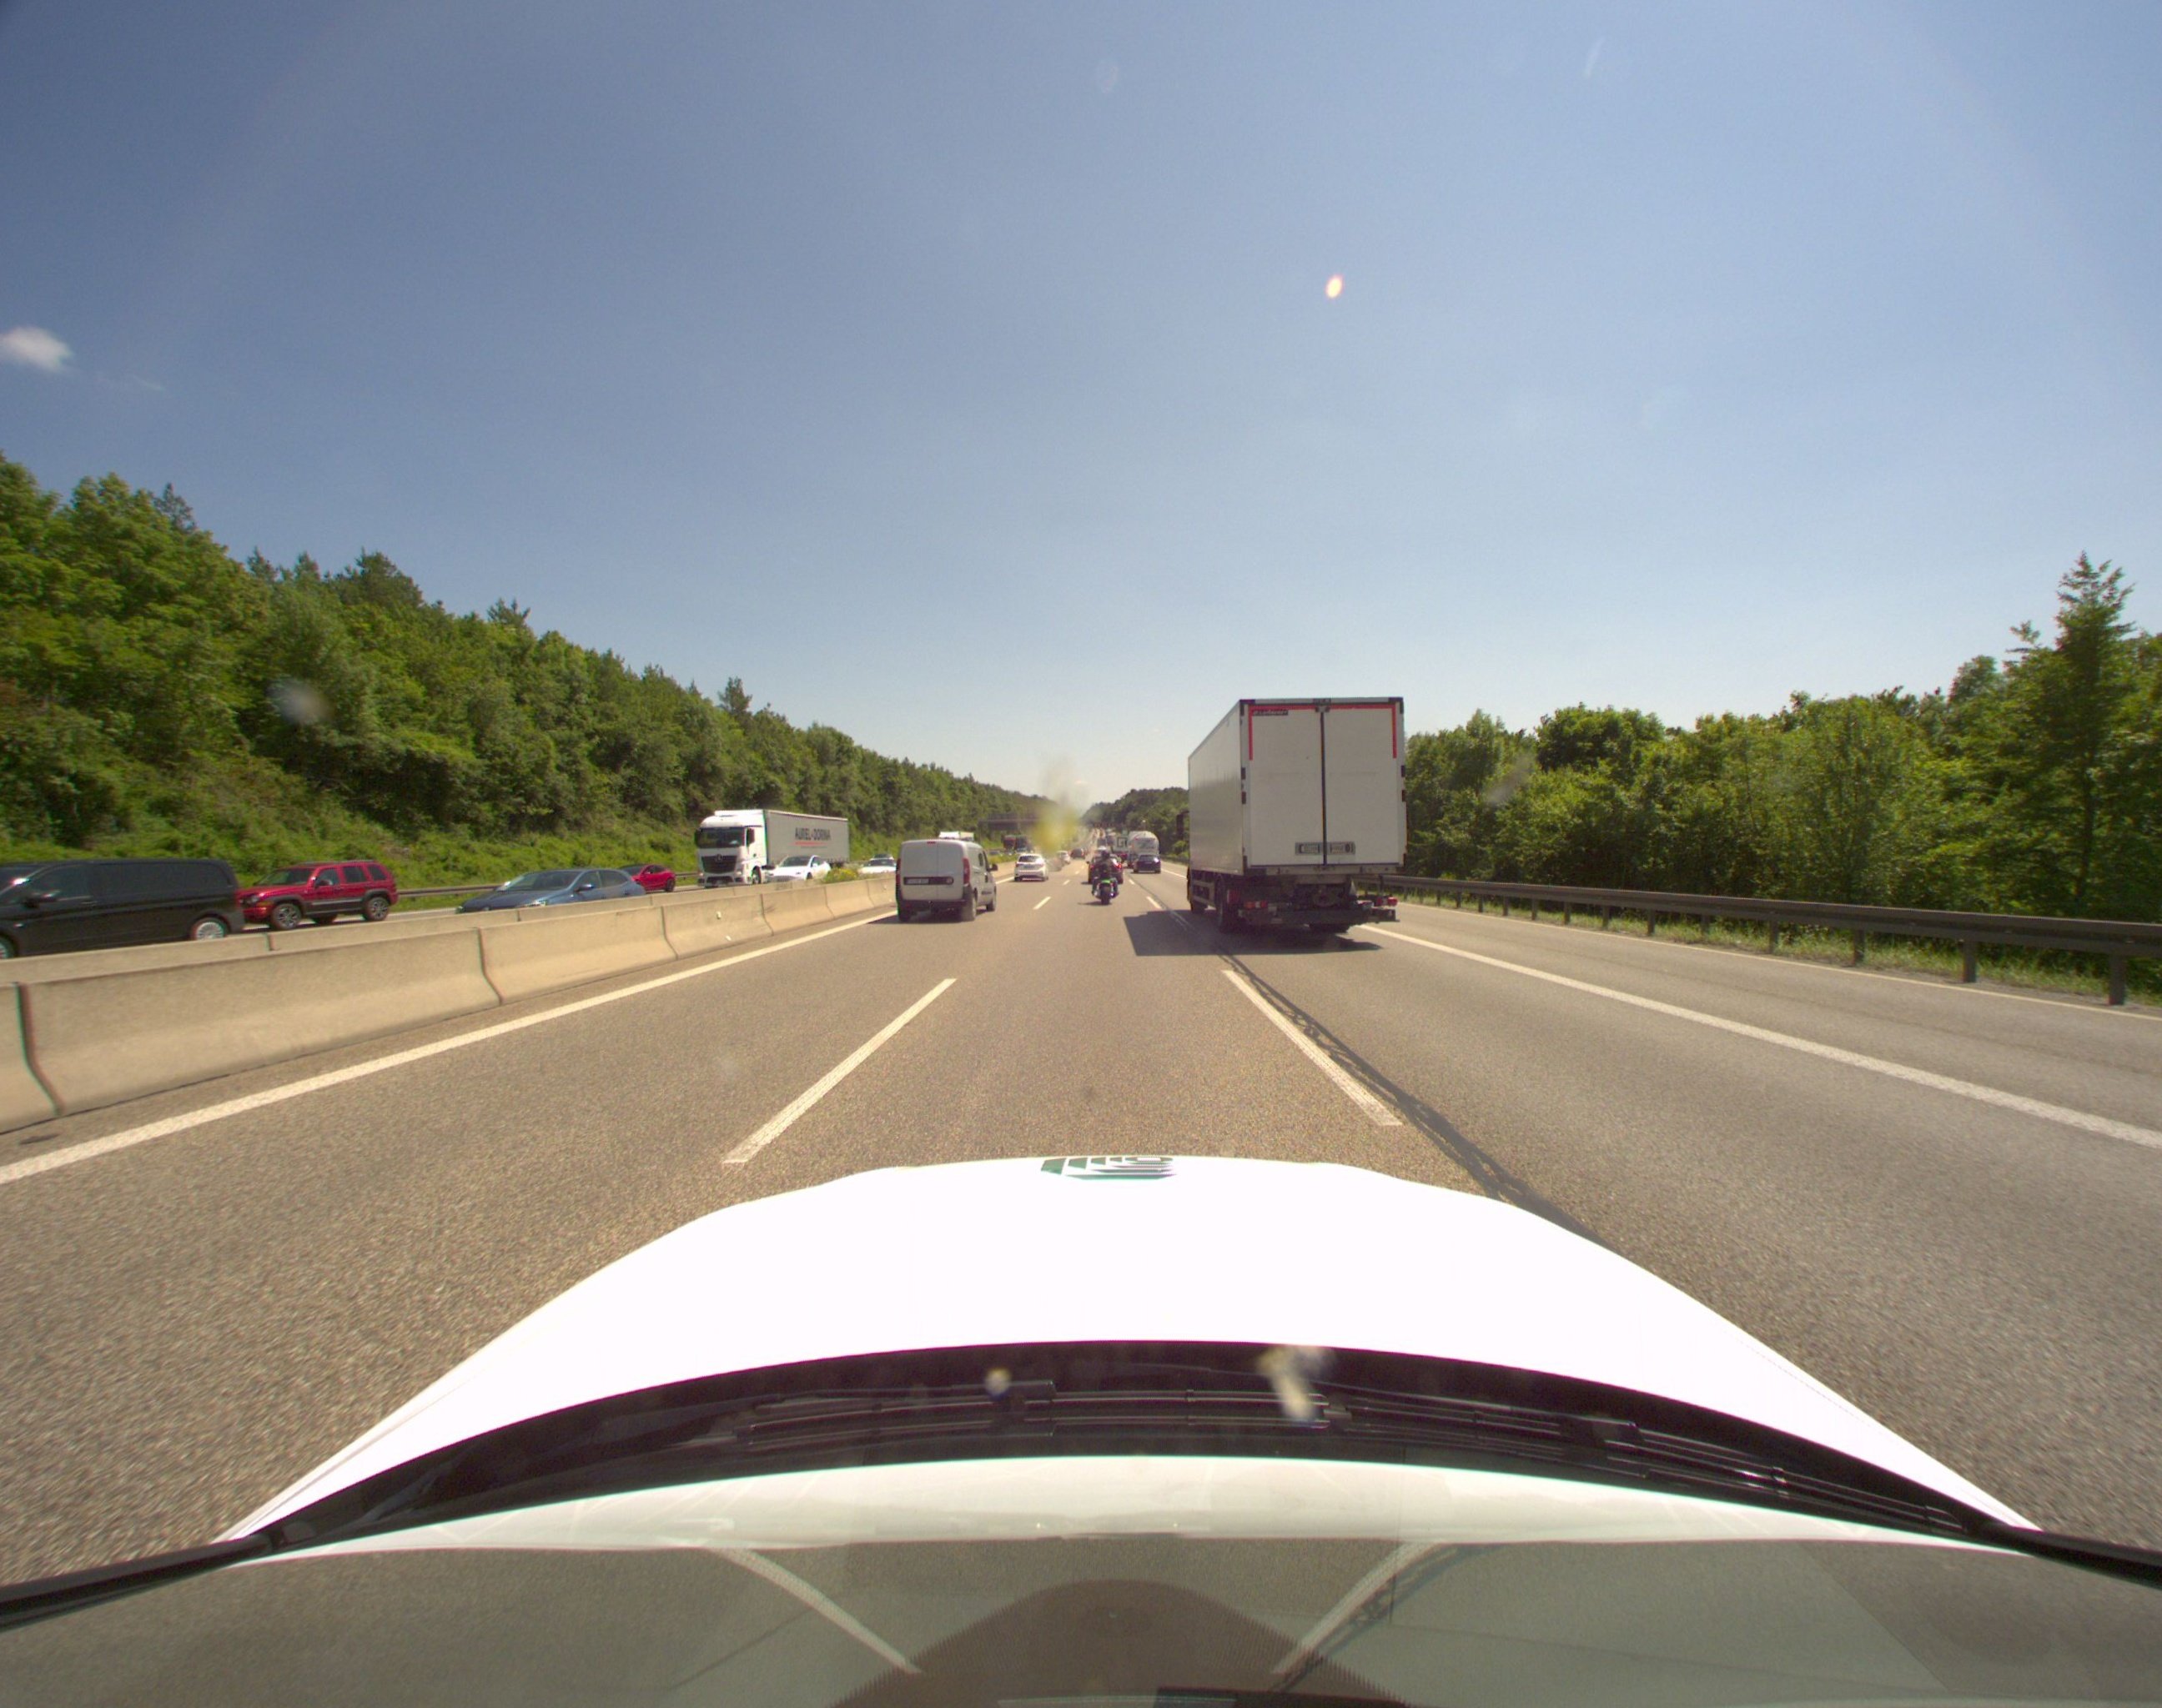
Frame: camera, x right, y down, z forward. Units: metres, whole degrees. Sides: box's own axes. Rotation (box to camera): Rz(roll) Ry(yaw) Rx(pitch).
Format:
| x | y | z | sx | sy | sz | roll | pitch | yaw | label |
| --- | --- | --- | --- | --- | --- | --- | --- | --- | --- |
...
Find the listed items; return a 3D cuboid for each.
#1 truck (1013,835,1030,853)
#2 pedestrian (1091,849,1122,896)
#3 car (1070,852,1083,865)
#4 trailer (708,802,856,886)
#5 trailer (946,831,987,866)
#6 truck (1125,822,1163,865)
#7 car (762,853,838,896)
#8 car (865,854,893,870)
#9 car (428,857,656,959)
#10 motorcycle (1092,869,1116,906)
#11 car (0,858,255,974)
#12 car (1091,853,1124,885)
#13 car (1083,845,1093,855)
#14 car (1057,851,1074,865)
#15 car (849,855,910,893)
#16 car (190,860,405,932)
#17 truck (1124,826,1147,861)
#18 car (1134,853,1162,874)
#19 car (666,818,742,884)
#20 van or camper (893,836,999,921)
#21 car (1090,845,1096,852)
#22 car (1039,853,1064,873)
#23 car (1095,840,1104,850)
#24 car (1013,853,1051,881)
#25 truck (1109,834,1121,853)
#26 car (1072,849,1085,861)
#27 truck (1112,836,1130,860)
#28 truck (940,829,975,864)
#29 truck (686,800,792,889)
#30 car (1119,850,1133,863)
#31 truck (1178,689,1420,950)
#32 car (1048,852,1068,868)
| x | y | z | sx | sy | sz | roll | pitch | yaw | label |
| --- | --- | --- | --- | --- | --- | --- | --- | --- | --- |
| -13.789 | -2.310 | 189.118 | 2.895 | 3.974 | 7.771 | -2 | -1 | 1 | truck |
| 0.782 | 0.539 | 24.712 | 0.846 | 1.362 | 0.962 | -2 | 0 | 2 | pedestrian |
| -0.712 | 0.800 | 138.541 | 1.986 | 2.014 | 4.002 | -2 | -1 | 2 | car |
| -17.229 | -0.434 | 48.698 | 2.824 | 4.165 | 14.744 | -2 | -1 | 2 | trailer |
| -15.114 | -0.663 | 108.877 | 2.791 | 4.338 | 14.046 | -2 | -1 | 3 | trailer |
| 5.868 | -0.914 | 76.807 | 2.977 | 3.671 | 9.290 | -2 | -1 | 2 | truck |
| -13.839 | 0.979 | 40.400 | 1.987 | 1.949 | 4.749 | -2 | -1 | 1 | car |
| -20.282 | 0.800 | 81.775 | 1.660 | 1.466 | 4.191 | -1 | 0 | 1 | car |
| -10.863 | 0.981 | 16.851 | 1.765 | 1.772 | 4.186 | -2 | 0 | 2 | car |
| 0.712 | 0.989 | 24.740 | 0.688 | 1.015 | 2.123 | 0 | 0 | 3 | motorcycle |
| -18.058 | 1.026 | 14.506 | 1.729 | 1.809 | 4.862 | -2 | 0 | -1 | car |
| 1.316 | 0.736 | 41.452 | 1.527 | 1.510 | 4.000 | -2 | 0 | 1 | car |
| 1.484 | -0.891 | 178.509 | 1.922 | 2.014 | 4.002 | -2 | -1 | 2 | car |
| -1.701 | 0.429 | 91.695 | 1.693 | 1.478 | 4.001 | 0 | 0 | 1 | car |
| -10.262 | 1.004 | 41.757 | 1.986 | 1.794 | 4.001 | -2 | -1 | 1 | car |
| -21.536 | 1.075 | 22.683 | 1.670 | 1.751 | 4.377 | -2 | -1 | 1 | car |
| 5.728 | -1.077 | 85.904 | 1.988 | 3.522 | 4.749 | -2 | -1 | -1 | truck |
| 4.897 | 0.695 | 60.073 | 1.822 | 1.470 | 4.002 | 0 | 0 | 2 | car |
| -23.757 | -0.188 | 51.576 | 2.440 | 3.873 | 4.567 | -2 | 0 | 1 | car |
| -3.218 | 0.571 | 20.210 | 1.789 | 1.892 | 4.162 | 0 | -1 | 2 | van or camper |
| 3.721 | -1.725 | 256.457 | 1.986 | 2.013 | 4.002 | 0 | 0 | 2 | car |
| -2.334 | 0.675 | 65.053 | 1.693 | 1.478 | 4.001 | 0 | 0 | 1 | car |
| 5.072 | -2.442 | 220.209 | 2.495 | 2.587 | 5.018 | 0 | 0 | 1 | car |
| -2.655 | 0.687 | 44.939 | 1.693 | 1.478 | 4.001 | 0 | 0 | 1 | car |
| 8.920 | -2.781 | 217.446 | 3.022 | 5.139 | 9.986 | 1 | 0 | 2 | truck |
| -0.362 | 0.099 | 123.506 | 1.873 | 1.859 | 4.002 | 0 | 0 | 2 | car |
| 7.539 | -1.153 | 154.790 | 3.022 | 4.542 | 9.986 | 1 | 0 | 2 | truck |
| -15.422 | -0.900 | 102.352 | 2.791 | 4.165 | 7.606 | -2 | -1 | 3 | truck |
| -17.390 | -0.468 | 41.820 | 2.830 | 4.214 | 5.661 | -1 | 0 | 1 | truck |
| 5.983 | 0.323 | 108.600 | 1.780 | 1.555 | 3.805 | 0 | 0 | 1 | car |
| 3.926 | -0.530 | 17.376 | 2.678 | 3.876 | 9.785 | -3 | 0 | 2 | truck |
| -2.262 | 0.560 | 80.271 | 1.693 | 1.478 | 4.001 | 0 | 0 | 1 | car |
